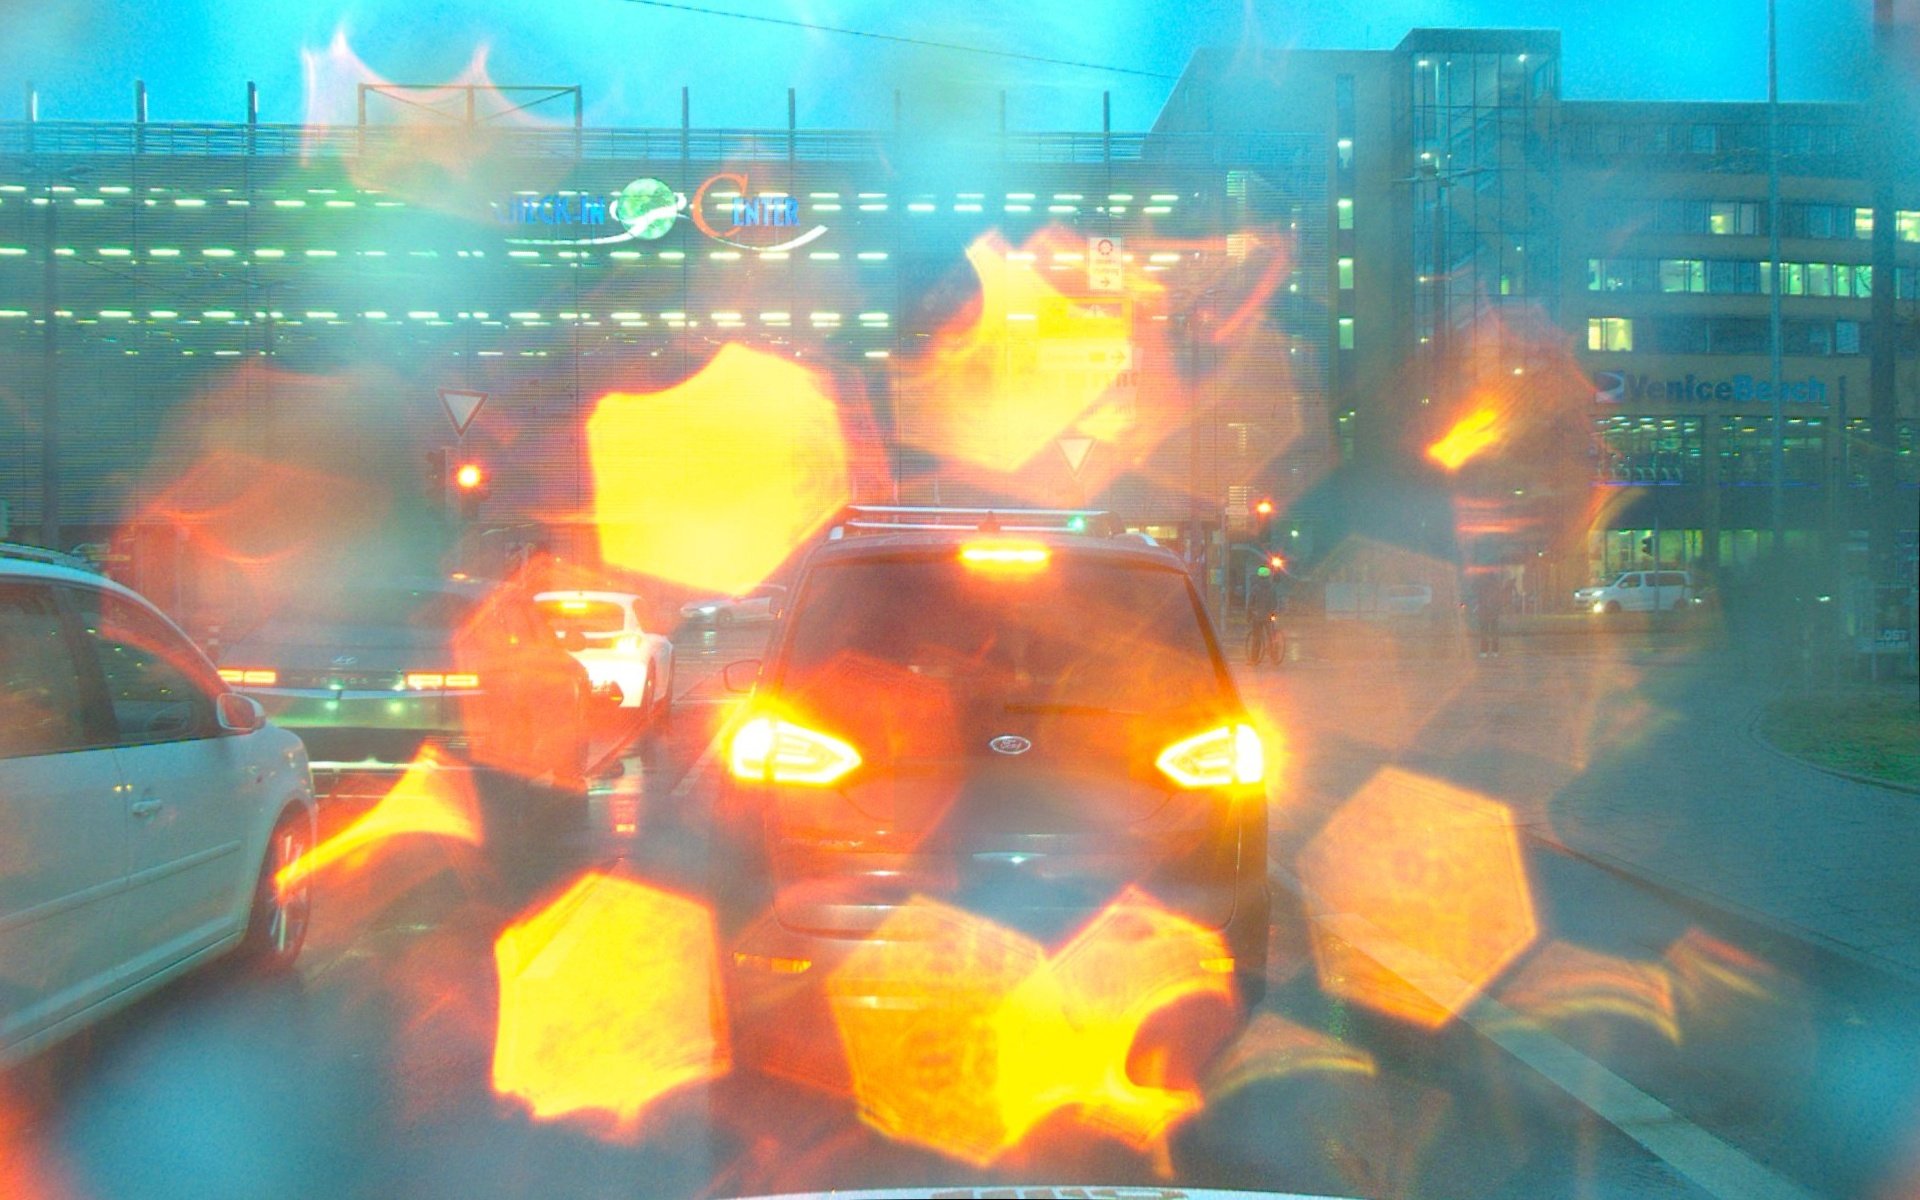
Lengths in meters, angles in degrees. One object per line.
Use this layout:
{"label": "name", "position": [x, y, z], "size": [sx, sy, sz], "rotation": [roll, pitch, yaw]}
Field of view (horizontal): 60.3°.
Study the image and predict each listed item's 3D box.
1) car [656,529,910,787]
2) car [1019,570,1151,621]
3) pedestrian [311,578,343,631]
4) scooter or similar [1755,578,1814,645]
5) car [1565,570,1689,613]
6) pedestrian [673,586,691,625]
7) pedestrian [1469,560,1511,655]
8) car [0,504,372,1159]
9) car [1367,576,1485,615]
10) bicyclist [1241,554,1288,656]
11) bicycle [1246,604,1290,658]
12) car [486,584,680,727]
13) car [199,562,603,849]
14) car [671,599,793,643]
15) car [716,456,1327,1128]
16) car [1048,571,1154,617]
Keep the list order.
{"label": "car", "position": [-1.474, 0.388, 14.152], "size": [1.808, 1.837, 4.482], "rotation": [0, 1, -5]}
{"label": "car", "position": [4.894, -0.185, 65.041], "size": [4.855, 1.904, 1.901], "rotation": [-1, 0, -10]}
{"label": "pedestrian", "position": [-29.711, 0.205, 77.677], "size": [1.087, 2.482, 0.966], "rotation": [1, -1, -2]}
{"label": "scooter or similar", "position": [15.438, 0.201, 30.969], "size": [1.290, 1.227, 0.331], "rotation": [0, 0, -30]}
{"label": "car", "position": [27.743, -0.356, 68.792], "size": [4.553, 1.706, 1.782], "rotation": [-1, 0, -10]}
{"label": "pedestrian", "position": [-13.019, 0.256, 77.382], "size": [0.772, 1.818, 0.732], "rotation": [0, 0, -6]}
{"label": "pedestrian", "position": [10.755, 0.151, 33.536], "size": [0.757, 1.910, 0.635], "rotation": [0, 0, 22]}
{"label": "car", "position": [-3.268, 0.575, 5.072], "size": [1.638, 1.627, 4.220], "rotation": [0, 0, -4]}
{"label": "car", "position": [18.960, -0.179, 67.339], "size": [4.245, 1.512, 1.863], "rotation": [-1, 0, -7]}
{"label": "bicyclist", "position": [5.853, 0.093, 31.836], "size": [0.774, 1.923, 0.990], "rotation": [0, 0, 5]}
{"label": "bicycle", "position": [5.927, 0.582, 31.897], "size": [0.641, 0.990, 1.867], "rotation": [0, 0, 5]}
{"label": "car", "position": [-4.248, 0.564, 19.168], "size": [1.724, 1.489, 3.912], "rotation": [0, 0, -6]}
{"label": "car", "position": [-3.627, 0.575, 11.552], "size": [1.786, 1.597, 4.355], "rotation": [0, 0, -7]}
{"label": "car", "position": [-7.788, 0.707, 56.827], "size": [1.611, 1.410, 4.463], "rotation": [0, 0, 33]}
{"label": "car", "position": [0.132, 0.521, 6.546], "size": [1.640, 1.810, 3.999], "rotation": [1, 0, -1]}
{"label": "car", "position": [6.086, -0.265, 71.590], "size": [4.276, 1.904, 1.902], "rotation": [-1, 0, -7]}
